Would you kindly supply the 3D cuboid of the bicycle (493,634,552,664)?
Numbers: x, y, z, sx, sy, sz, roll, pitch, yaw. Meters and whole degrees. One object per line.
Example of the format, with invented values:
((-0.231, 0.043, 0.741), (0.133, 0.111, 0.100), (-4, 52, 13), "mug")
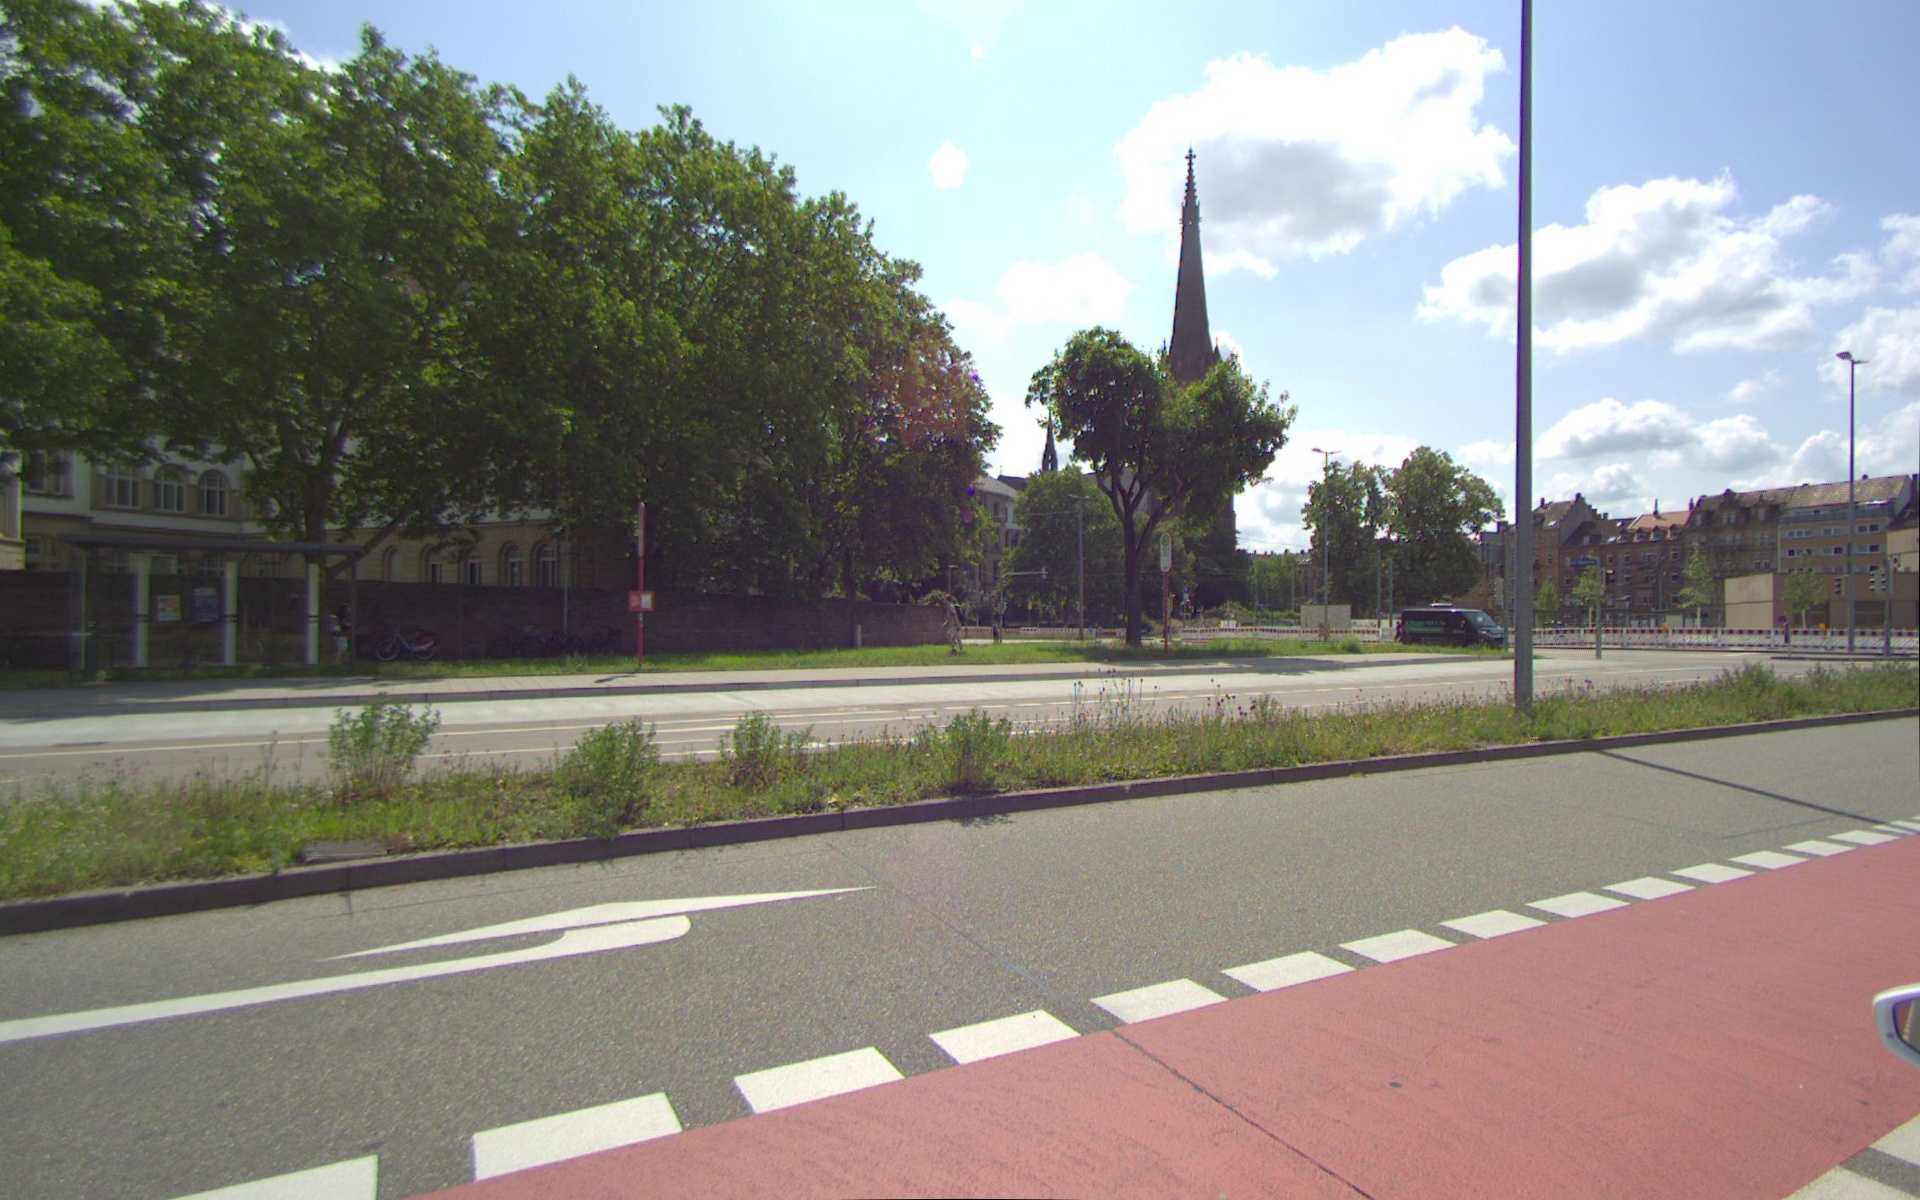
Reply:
((-13.930, 1.561, 32.023), (0.537, 0.914, 1.658), (0, -1, 39), "bicycle")

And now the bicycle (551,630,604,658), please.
((-12.861, 1.474, 33.814), (0.536, 0.914, 1.660), (0, -1, 34), "bicycle")

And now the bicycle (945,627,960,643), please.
((-0.421, 2.075, 59.045), (0.534, 0.914, 1.666), (0, -1, 12), "bicycle")

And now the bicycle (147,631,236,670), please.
((-19.064, 1.244, 24.945), (0.537, 0.914, 1.658), (0, -1, 39), "bicycle")

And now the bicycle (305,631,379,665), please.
((-16.997, 1.308, 27.660), (0.537, 0.914, 1.658), (0, -1, 39), "bicycle")

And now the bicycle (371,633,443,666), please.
((-16.021, 1.417, 29.151), (0.446, 0.914, 1.786), (0, -1, 39), "bicycle")

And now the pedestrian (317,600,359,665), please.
((-16.044, 0.841, 25.906), (0.607, 1.638, 0.754), (1, 0, 39), "pedestrian")

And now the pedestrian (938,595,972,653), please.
((-0.138, 0.663, 27.935), (0.858, 1.580, 0.556), (0, -1, 10), "pedestrian")

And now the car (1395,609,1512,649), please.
((24.428, 1.393, 49.932), (1.908, 1.904, 4.980), (0, -1, -33), "car")

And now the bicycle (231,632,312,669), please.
((-18.013, 1.304, 26.306), (0.537, 0.914, 1.658), (0, -1, 39), "bicycle")

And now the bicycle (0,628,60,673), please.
((-21.052, 1.113, 22.221), (0.538, 0.964, 1.656), (0, -1, 43), "bicycle")

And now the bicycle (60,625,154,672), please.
((-19.905, 1.112, 23.457), (0.538, 1.065, 1.615), (0, -1, 43), "bicycle")
